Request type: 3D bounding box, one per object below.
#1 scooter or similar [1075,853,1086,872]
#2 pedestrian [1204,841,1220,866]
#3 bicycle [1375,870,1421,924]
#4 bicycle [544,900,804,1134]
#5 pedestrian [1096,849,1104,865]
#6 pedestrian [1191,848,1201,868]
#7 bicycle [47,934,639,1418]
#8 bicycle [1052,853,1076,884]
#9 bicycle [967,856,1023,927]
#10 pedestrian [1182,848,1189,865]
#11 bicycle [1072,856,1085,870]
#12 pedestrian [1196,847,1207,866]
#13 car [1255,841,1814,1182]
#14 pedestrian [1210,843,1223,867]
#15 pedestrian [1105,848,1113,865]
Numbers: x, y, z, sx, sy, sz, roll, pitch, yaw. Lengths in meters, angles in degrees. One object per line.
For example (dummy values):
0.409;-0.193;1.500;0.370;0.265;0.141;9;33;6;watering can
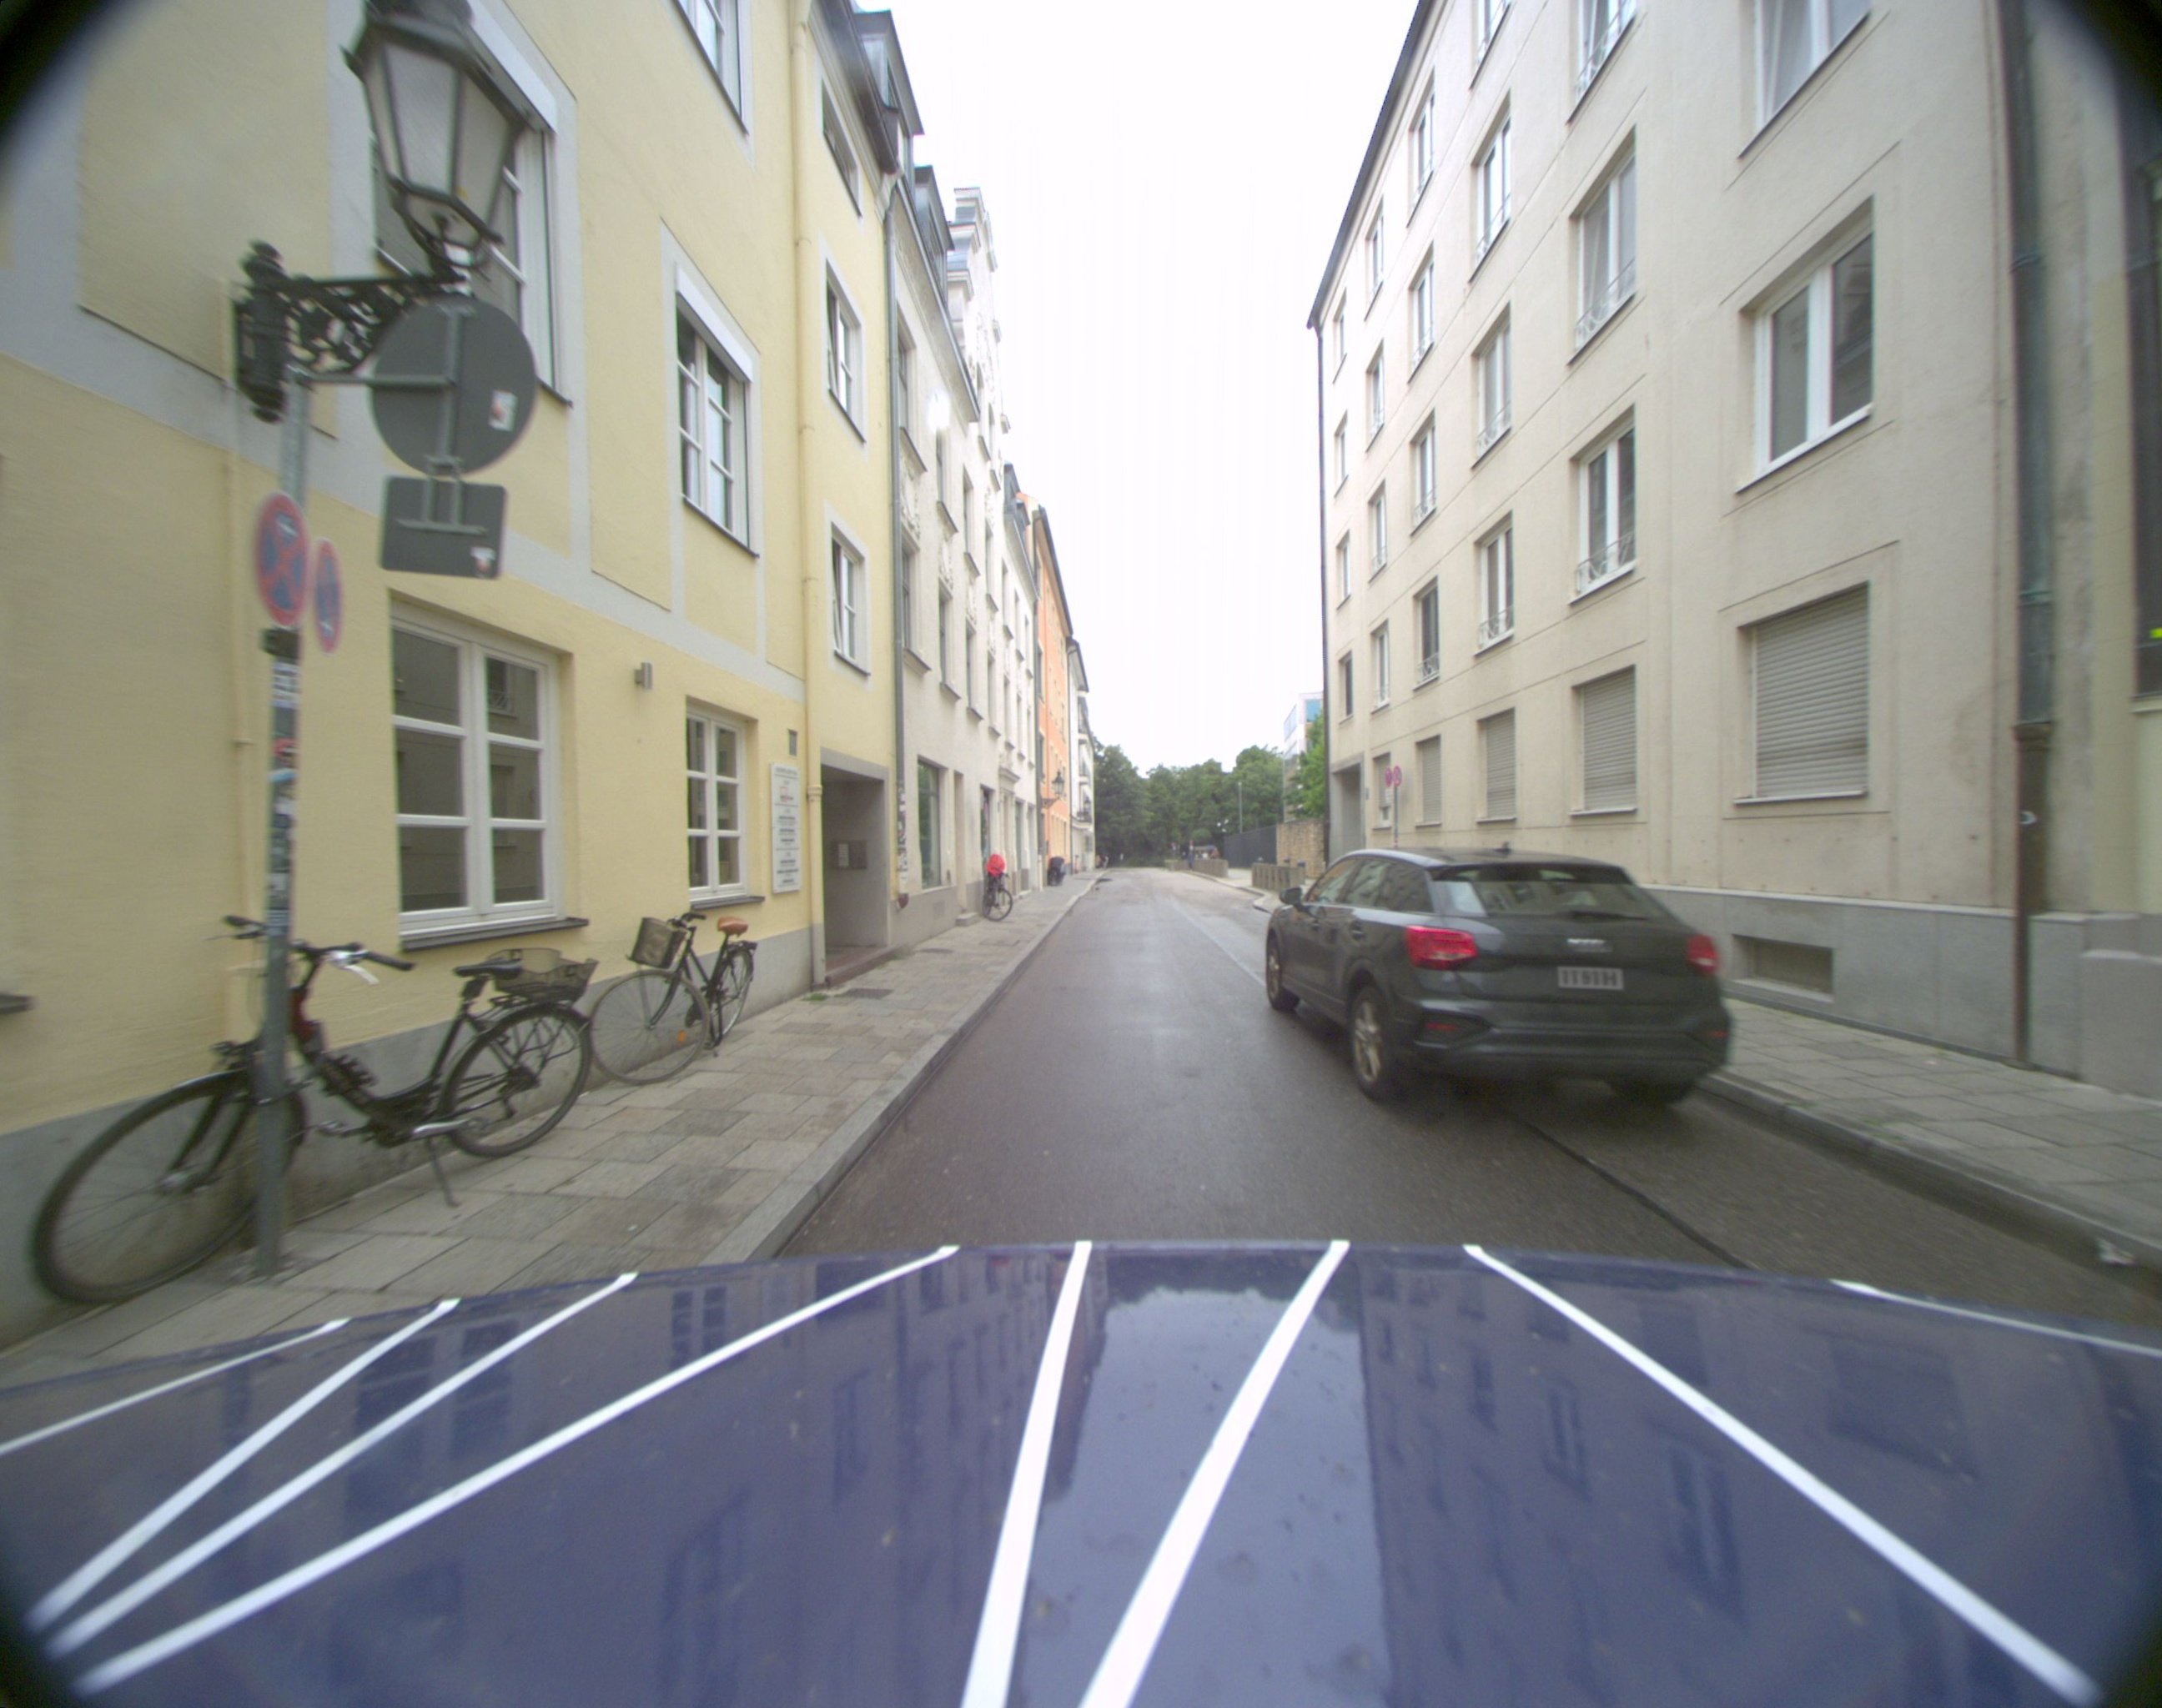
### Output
-0.032;0.574;51.373;0.466;1.251;1.275;1;1;-10;scooter or similar
10.998;-0.037;63.733;1.225;2.092;1.117;-1;0;6;pedestrian
6.153;0.805;14.792;0.320;0.938;1.574;-4;0;5;bicycle
-2.612;0.959;5.180;0.566;1.130;1.988;1;1;5;bicycle
1.932;0.327;77.766;0.753;1.671;0.656;-1;0;2;pedestrian
8.581;0.272;56.657;0.640;1.458;1.079;-3;0;4;pedestrian
-2.546;0.981;2.951;0.566;1.130;1.684;1;1;5;bicycle
-0.735;0.606;33.149;0.681;1.233;2.383;4;1;5;bicycle
-1.806;0.753;16.237;0.715;1.388;2.122;2;1;6;bicycle
10.699;0.260;77.462;0.625;1.758;0.767;-1;0;3;pedestrian
-0.176;0.638;54.760;0.464;0.988;2.081;0;-1;14;bicycle
9.825;0.186;61.787;0.778;1.531;0.933;-3;0;11;pedestrian
2.557;0.718;5.545;1.816;1.584;4.000;0;1;2;car
10.036;0.052;56.180;0.825;1.713;0.906;-3;0;9;pedestrian
2.868;0.283;77.987;0.753;1.725;0.854;-1;0;2;pedestrian
